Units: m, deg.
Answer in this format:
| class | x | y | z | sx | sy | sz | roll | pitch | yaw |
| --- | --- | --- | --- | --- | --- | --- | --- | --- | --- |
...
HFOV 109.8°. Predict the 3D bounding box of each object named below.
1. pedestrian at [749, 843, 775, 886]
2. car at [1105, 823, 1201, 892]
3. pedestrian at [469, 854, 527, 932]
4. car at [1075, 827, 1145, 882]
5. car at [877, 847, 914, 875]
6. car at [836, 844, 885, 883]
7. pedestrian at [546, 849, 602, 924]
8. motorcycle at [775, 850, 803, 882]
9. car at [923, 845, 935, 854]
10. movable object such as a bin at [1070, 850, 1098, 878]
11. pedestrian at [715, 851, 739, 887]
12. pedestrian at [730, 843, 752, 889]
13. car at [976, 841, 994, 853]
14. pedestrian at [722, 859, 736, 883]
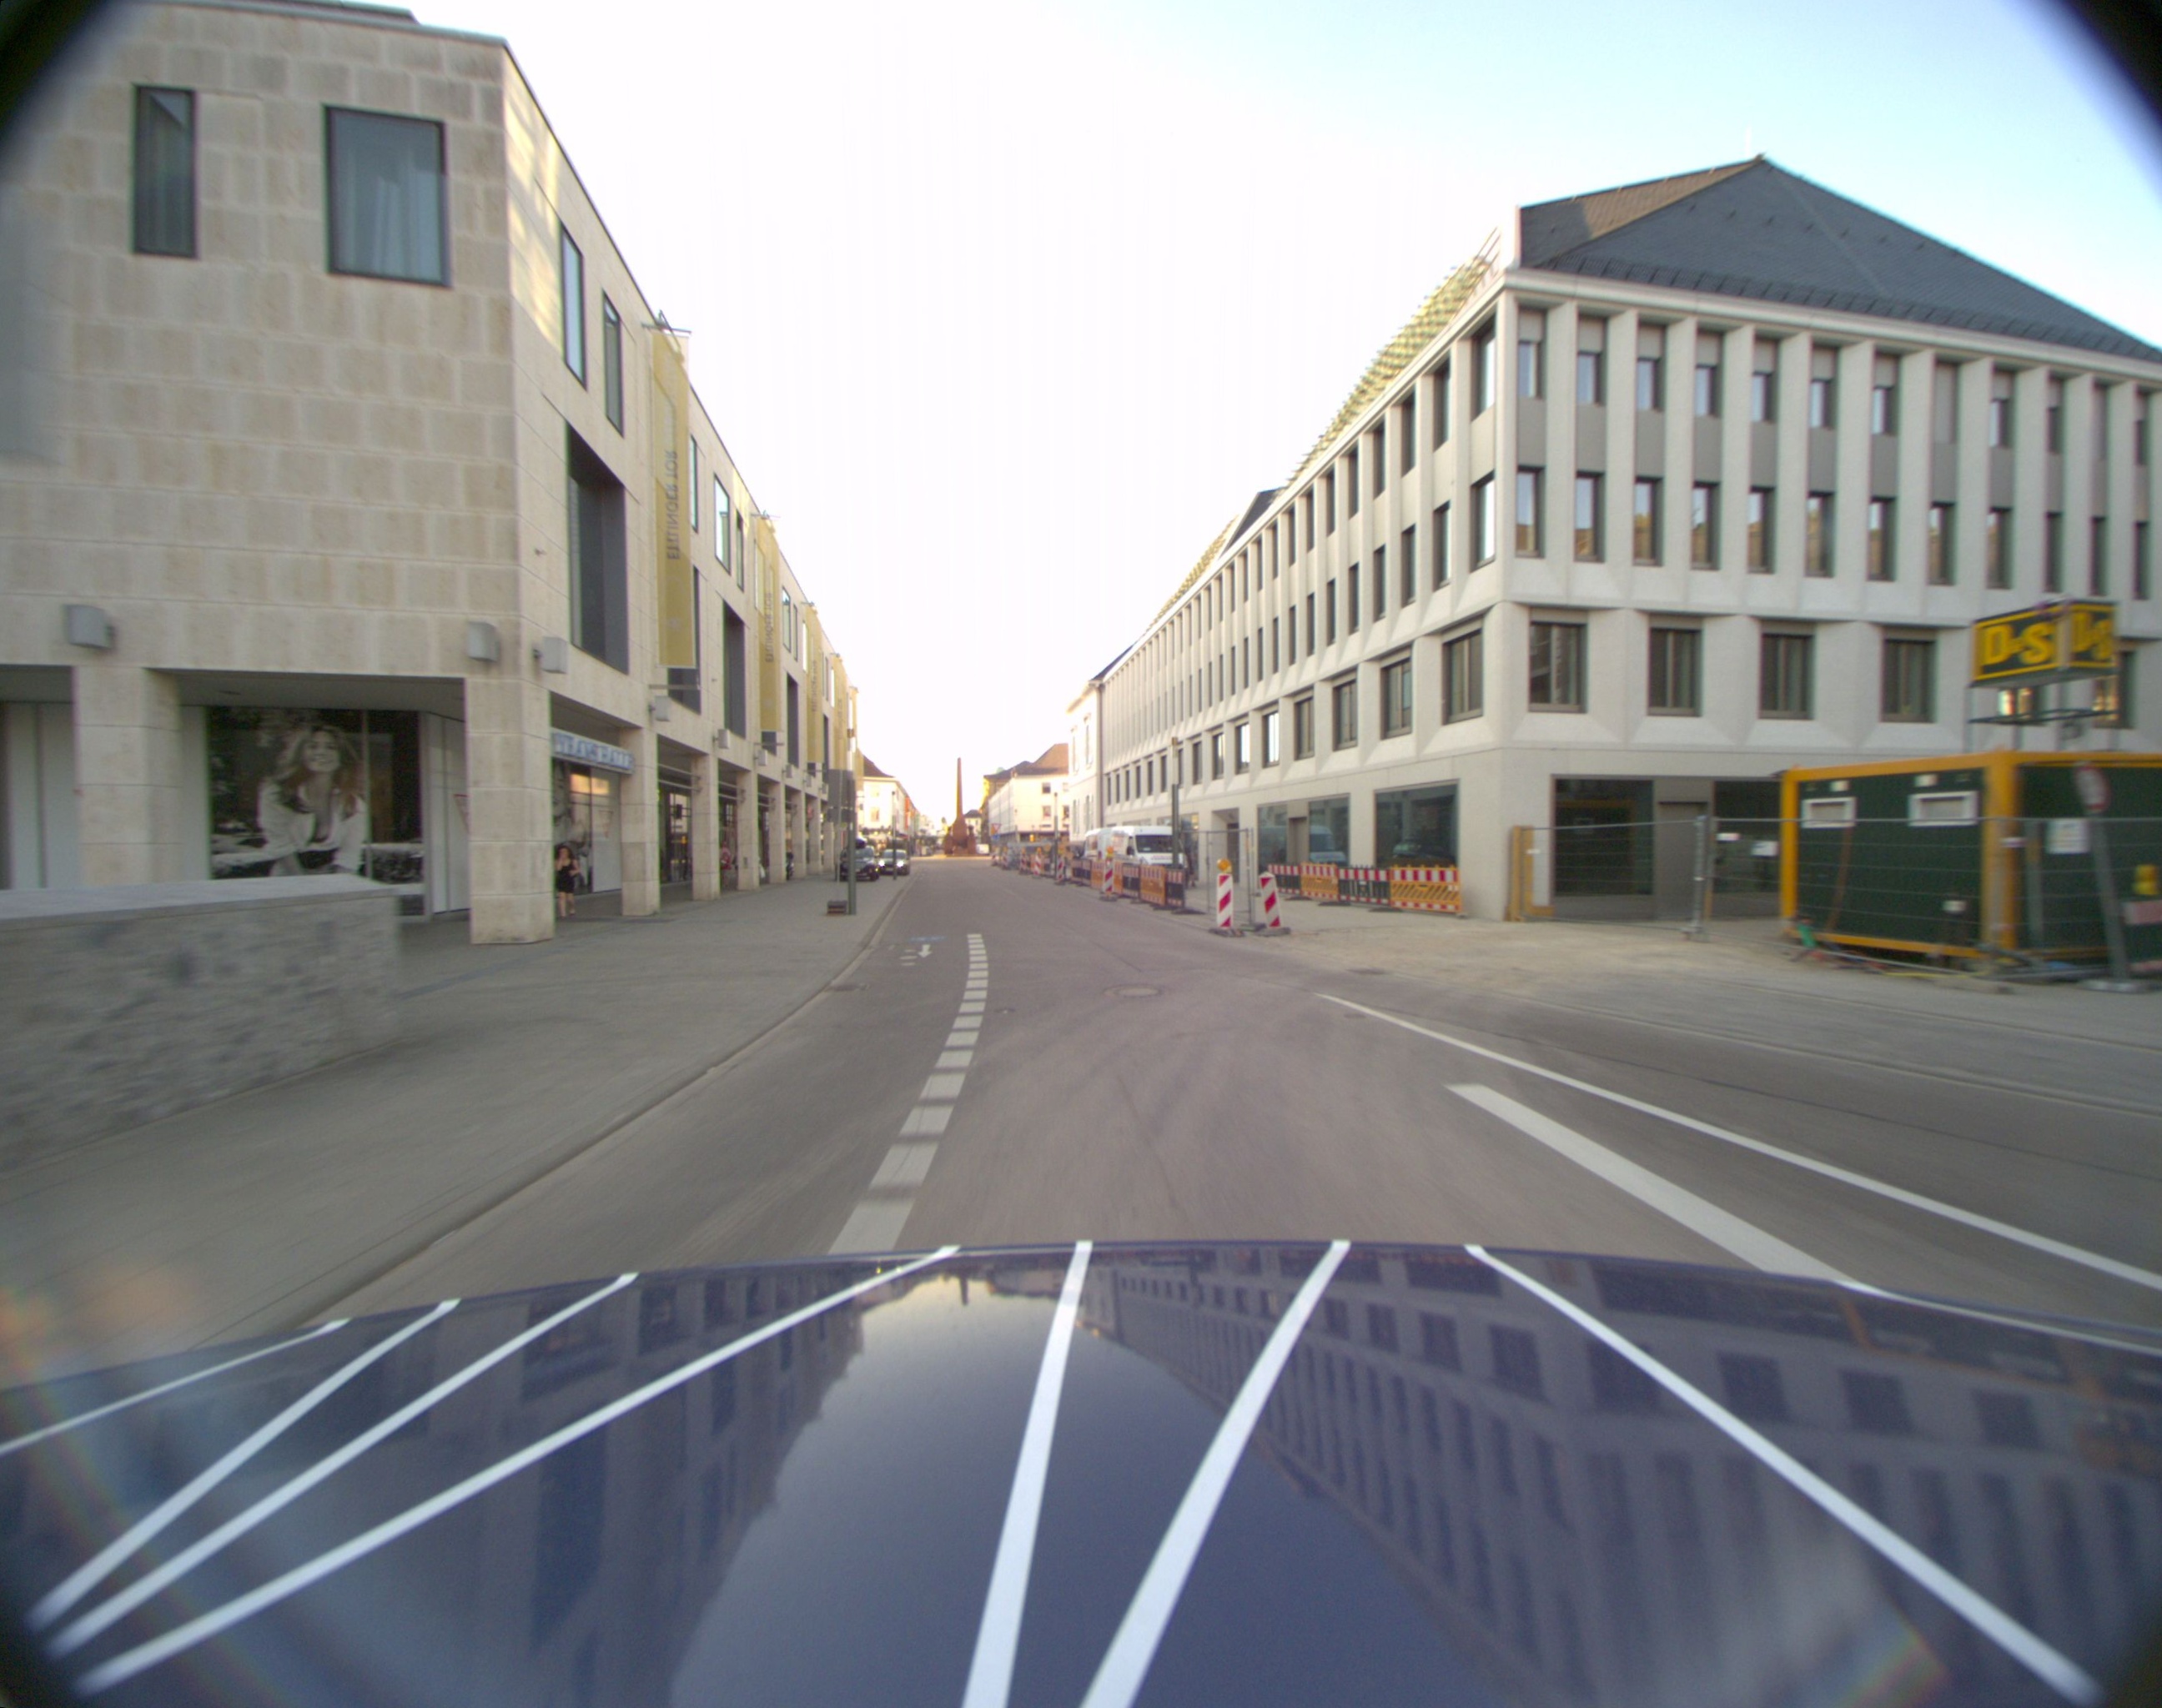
| class | x | y | z | sx | sy | sz | roll | pitch | yaw |
| --- | --- | --- | --- | --- | --- | --- | --- | --- | --- |
| pedestrian | -12.643 | 0.414 | 30.112 | 0.767 | 1.671 | 0.876 | -1 | 0 | -11 |
| car | 2.677 | 0.082 | 30.170 | 2.181 | 2.456 | 5.992 | -1 | 1 | -11 |
| pedestrian | -11.960 | 0.779 | 15.610 | 0.636 | 1.534 | 0.774 | -1 | 2 | -11 |
| car | 1.306 | -0.032 | 37.487 | 2.181 | 2.456 | 5.992 | -1 | 1 | -10 |
| car | -10.945 | 0.387 | 44.996 | 1.801 | 1.482 | 4.188 | 3 | 1 | -10 |
| car | -10.512 | 0.410 | 36.401 | 1.774 | 1.628 | 4.052 | 3 | 1 | -10 |
| pedestrian | -10.777 | 0.667 | 16.175 | 0.727 | 1.533 | 0.728 | -1 | 2 | -11 |
| motorcycle | -13.096 | 0.515 | 34.135 | 0.695 | 1.408 | 2.133 | -1 | 1 | -9 |
| car | -25.032 | -0.730 | 125.098 | 1.783 | 1.416 | 3.956 | -1 | 1 | -11 |
| movable object such as a bin | 0.165 | 0.518 | 41.467 | 1.048 | 1.458 | 1.391 | -1 | 2 | -23 |
| pedestrian | -13.298 | 0.568 | 28.534 | 0.636 | 1.338 | 0.774 | -1 | 0 | -11 |
| pedestrian | -12.572 | 0.439 | 28.112 | 0.593 | 1.689 | 0.695 | -1 | 1 | -13 |
| car | -15.078 | -1.126 | 119.030 | 2.023 | 1.815 | 4.452 | -1 | 1 | -17 |
| pedestrian | -14.874 | 0.721 | 32.150 | 0.421 | 0.980 | 0.525 | -1 | 0 | -11 |
